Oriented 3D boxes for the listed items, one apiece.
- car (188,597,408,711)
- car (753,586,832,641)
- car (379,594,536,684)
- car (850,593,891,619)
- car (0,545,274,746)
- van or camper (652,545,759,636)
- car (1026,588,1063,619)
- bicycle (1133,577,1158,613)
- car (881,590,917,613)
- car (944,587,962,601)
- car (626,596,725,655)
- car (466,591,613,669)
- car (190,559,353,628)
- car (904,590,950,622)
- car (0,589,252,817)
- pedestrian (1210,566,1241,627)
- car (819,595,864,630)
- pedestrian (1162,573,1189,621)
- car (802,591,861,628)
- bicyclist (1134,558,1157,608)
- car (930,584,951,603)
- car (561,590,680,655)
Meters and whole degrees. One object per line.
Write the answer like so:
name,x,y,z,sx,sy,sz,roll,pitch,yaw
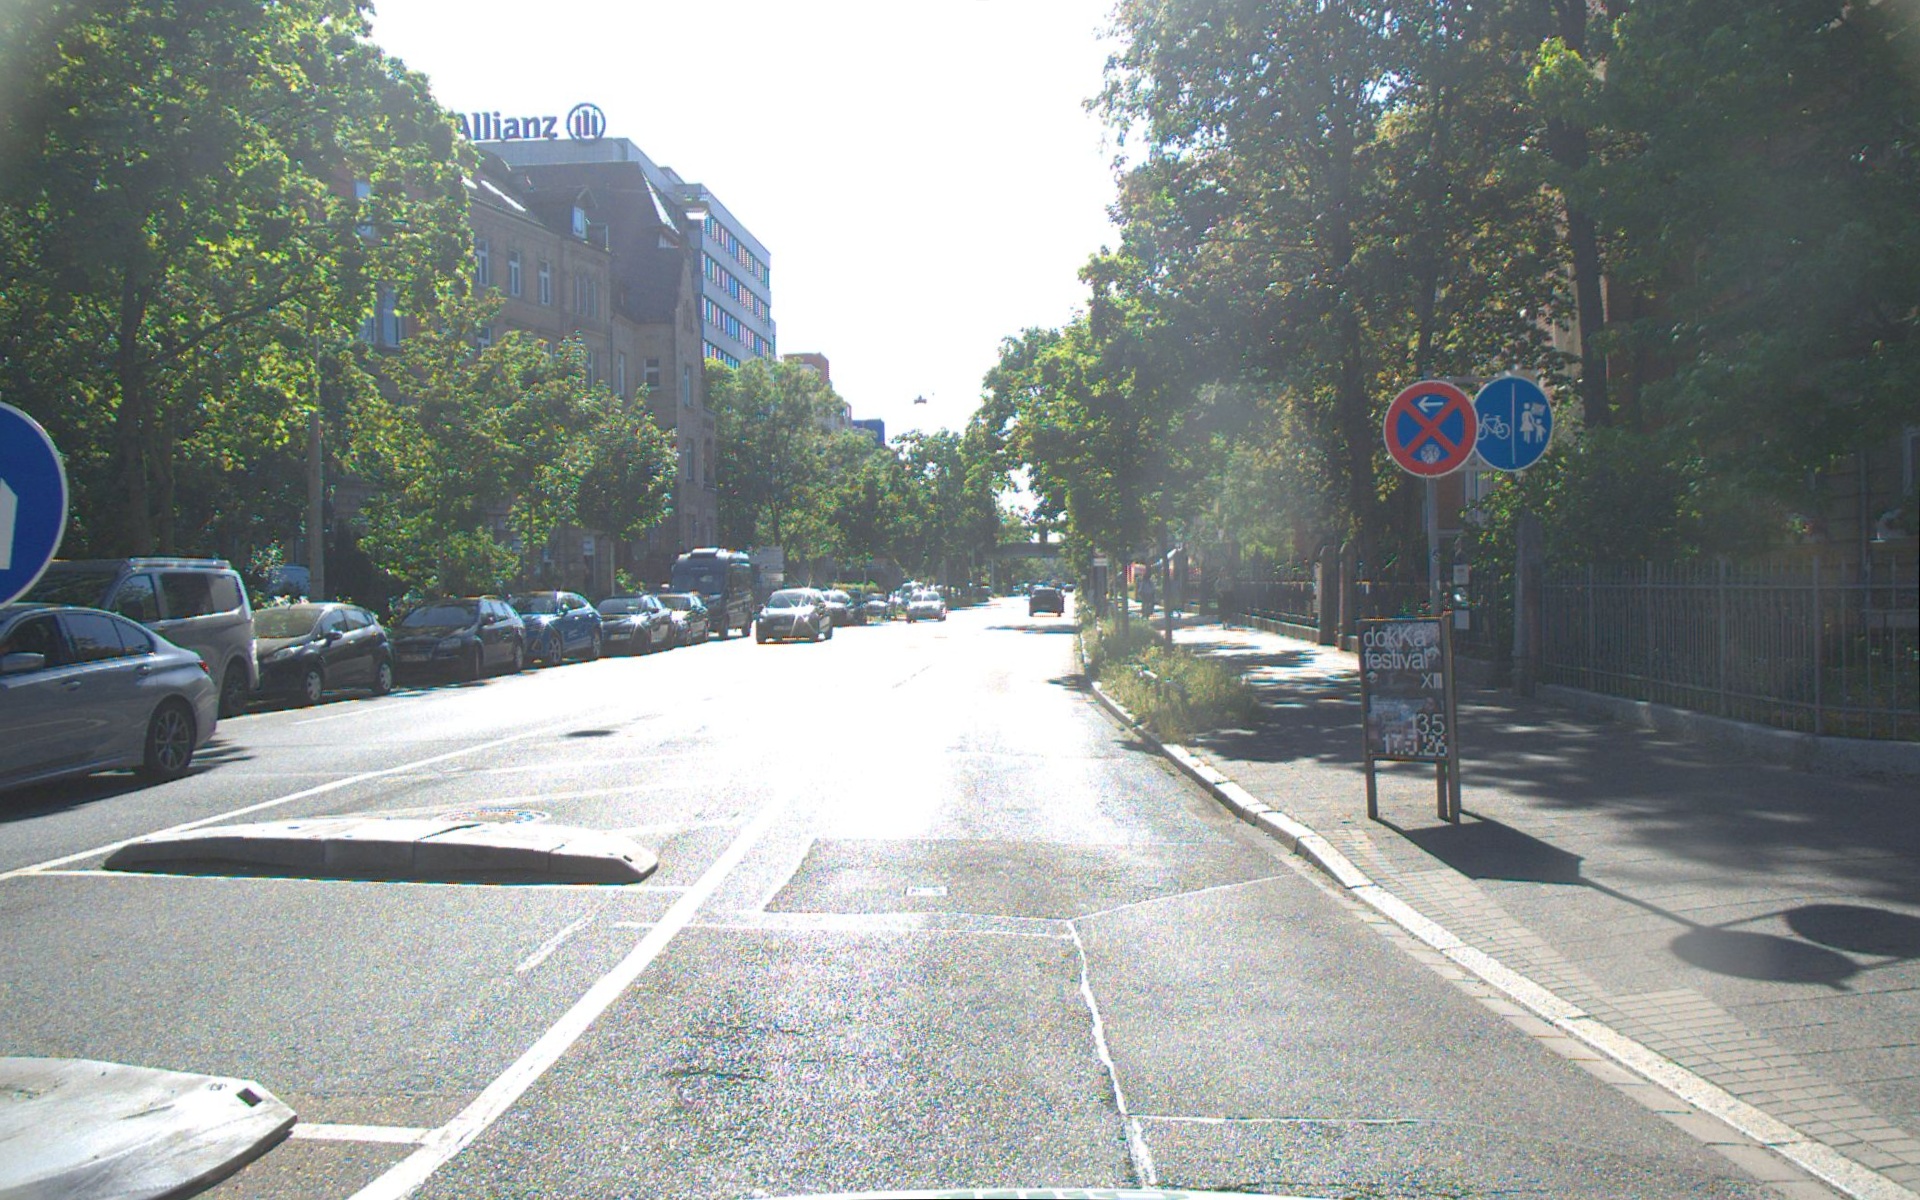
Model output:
car,-9.767,0.743,24.723,1.433,1.528,3.960,-2,0,4
car,-4.762,0.363,47.390,1.559,1.475,4.135,-1,0,4
car,-9.291,0.682,30.918,1.557,1.508,4.272,-2,0,1
car,-4.681,0.308,87.100,1.643,1.277,4.017,0,1,4
car,-10.315,0.488,19.941,1.943,2.071,4.875,-3,1,0
van or camper,-8.260,-0.330,54.302,2.170,2.787,6.091,-1,1,4
car,4.559,0.152,89.901,1.943,1.628,4.142,0,1,2
bicycle,6.614,-0.184,58.920,0.603,1.197,1.919,-4,1,0
car,-3.760,0.070,103.220,1.652,1.407,4.194,0,1,6
car,-0.748,-0.681,180.646,1.817,1.549,4.320,0,1,3
car,-8.037,0.685,47.109,1.658,1.482,4.666,-3,0,4
car,-9.171,0.606,36.480,1.743,1.565,4.561,-1,1,5
car,-20.953,-0.159,50.478,1.823,1.947,4.445,-2,-1,28
car,-1.593,0.278,80.952,1.878,1.444,4.227,-2,0,4
car,-7.261,0.702,12.053,1.766,1.520,4.716,-1,1,6
pedestrian,7.583,-0.097,47.330,0.680,1.687,0.820,-4,-1,3
car,-5.634,0.558,79.155,1.818,1.520,4.705,2,0,-1
pedestrian,8.367,-0.120,64.189,0.732,1.818,0.811,-4,0,22
car,-5.678,0.399,73.631,1.817,1.452,4.723,3,1,5
bicyclist,6.597,-0.595,58.892,0.607,1.719,0.820,-4,0,0
car,-1.932,-0.666,163.067,1.817,1.882,4.564,0,0,3
car,-8.408,0.523,41.308,1.743,1.438,4.407,-3,0,4
